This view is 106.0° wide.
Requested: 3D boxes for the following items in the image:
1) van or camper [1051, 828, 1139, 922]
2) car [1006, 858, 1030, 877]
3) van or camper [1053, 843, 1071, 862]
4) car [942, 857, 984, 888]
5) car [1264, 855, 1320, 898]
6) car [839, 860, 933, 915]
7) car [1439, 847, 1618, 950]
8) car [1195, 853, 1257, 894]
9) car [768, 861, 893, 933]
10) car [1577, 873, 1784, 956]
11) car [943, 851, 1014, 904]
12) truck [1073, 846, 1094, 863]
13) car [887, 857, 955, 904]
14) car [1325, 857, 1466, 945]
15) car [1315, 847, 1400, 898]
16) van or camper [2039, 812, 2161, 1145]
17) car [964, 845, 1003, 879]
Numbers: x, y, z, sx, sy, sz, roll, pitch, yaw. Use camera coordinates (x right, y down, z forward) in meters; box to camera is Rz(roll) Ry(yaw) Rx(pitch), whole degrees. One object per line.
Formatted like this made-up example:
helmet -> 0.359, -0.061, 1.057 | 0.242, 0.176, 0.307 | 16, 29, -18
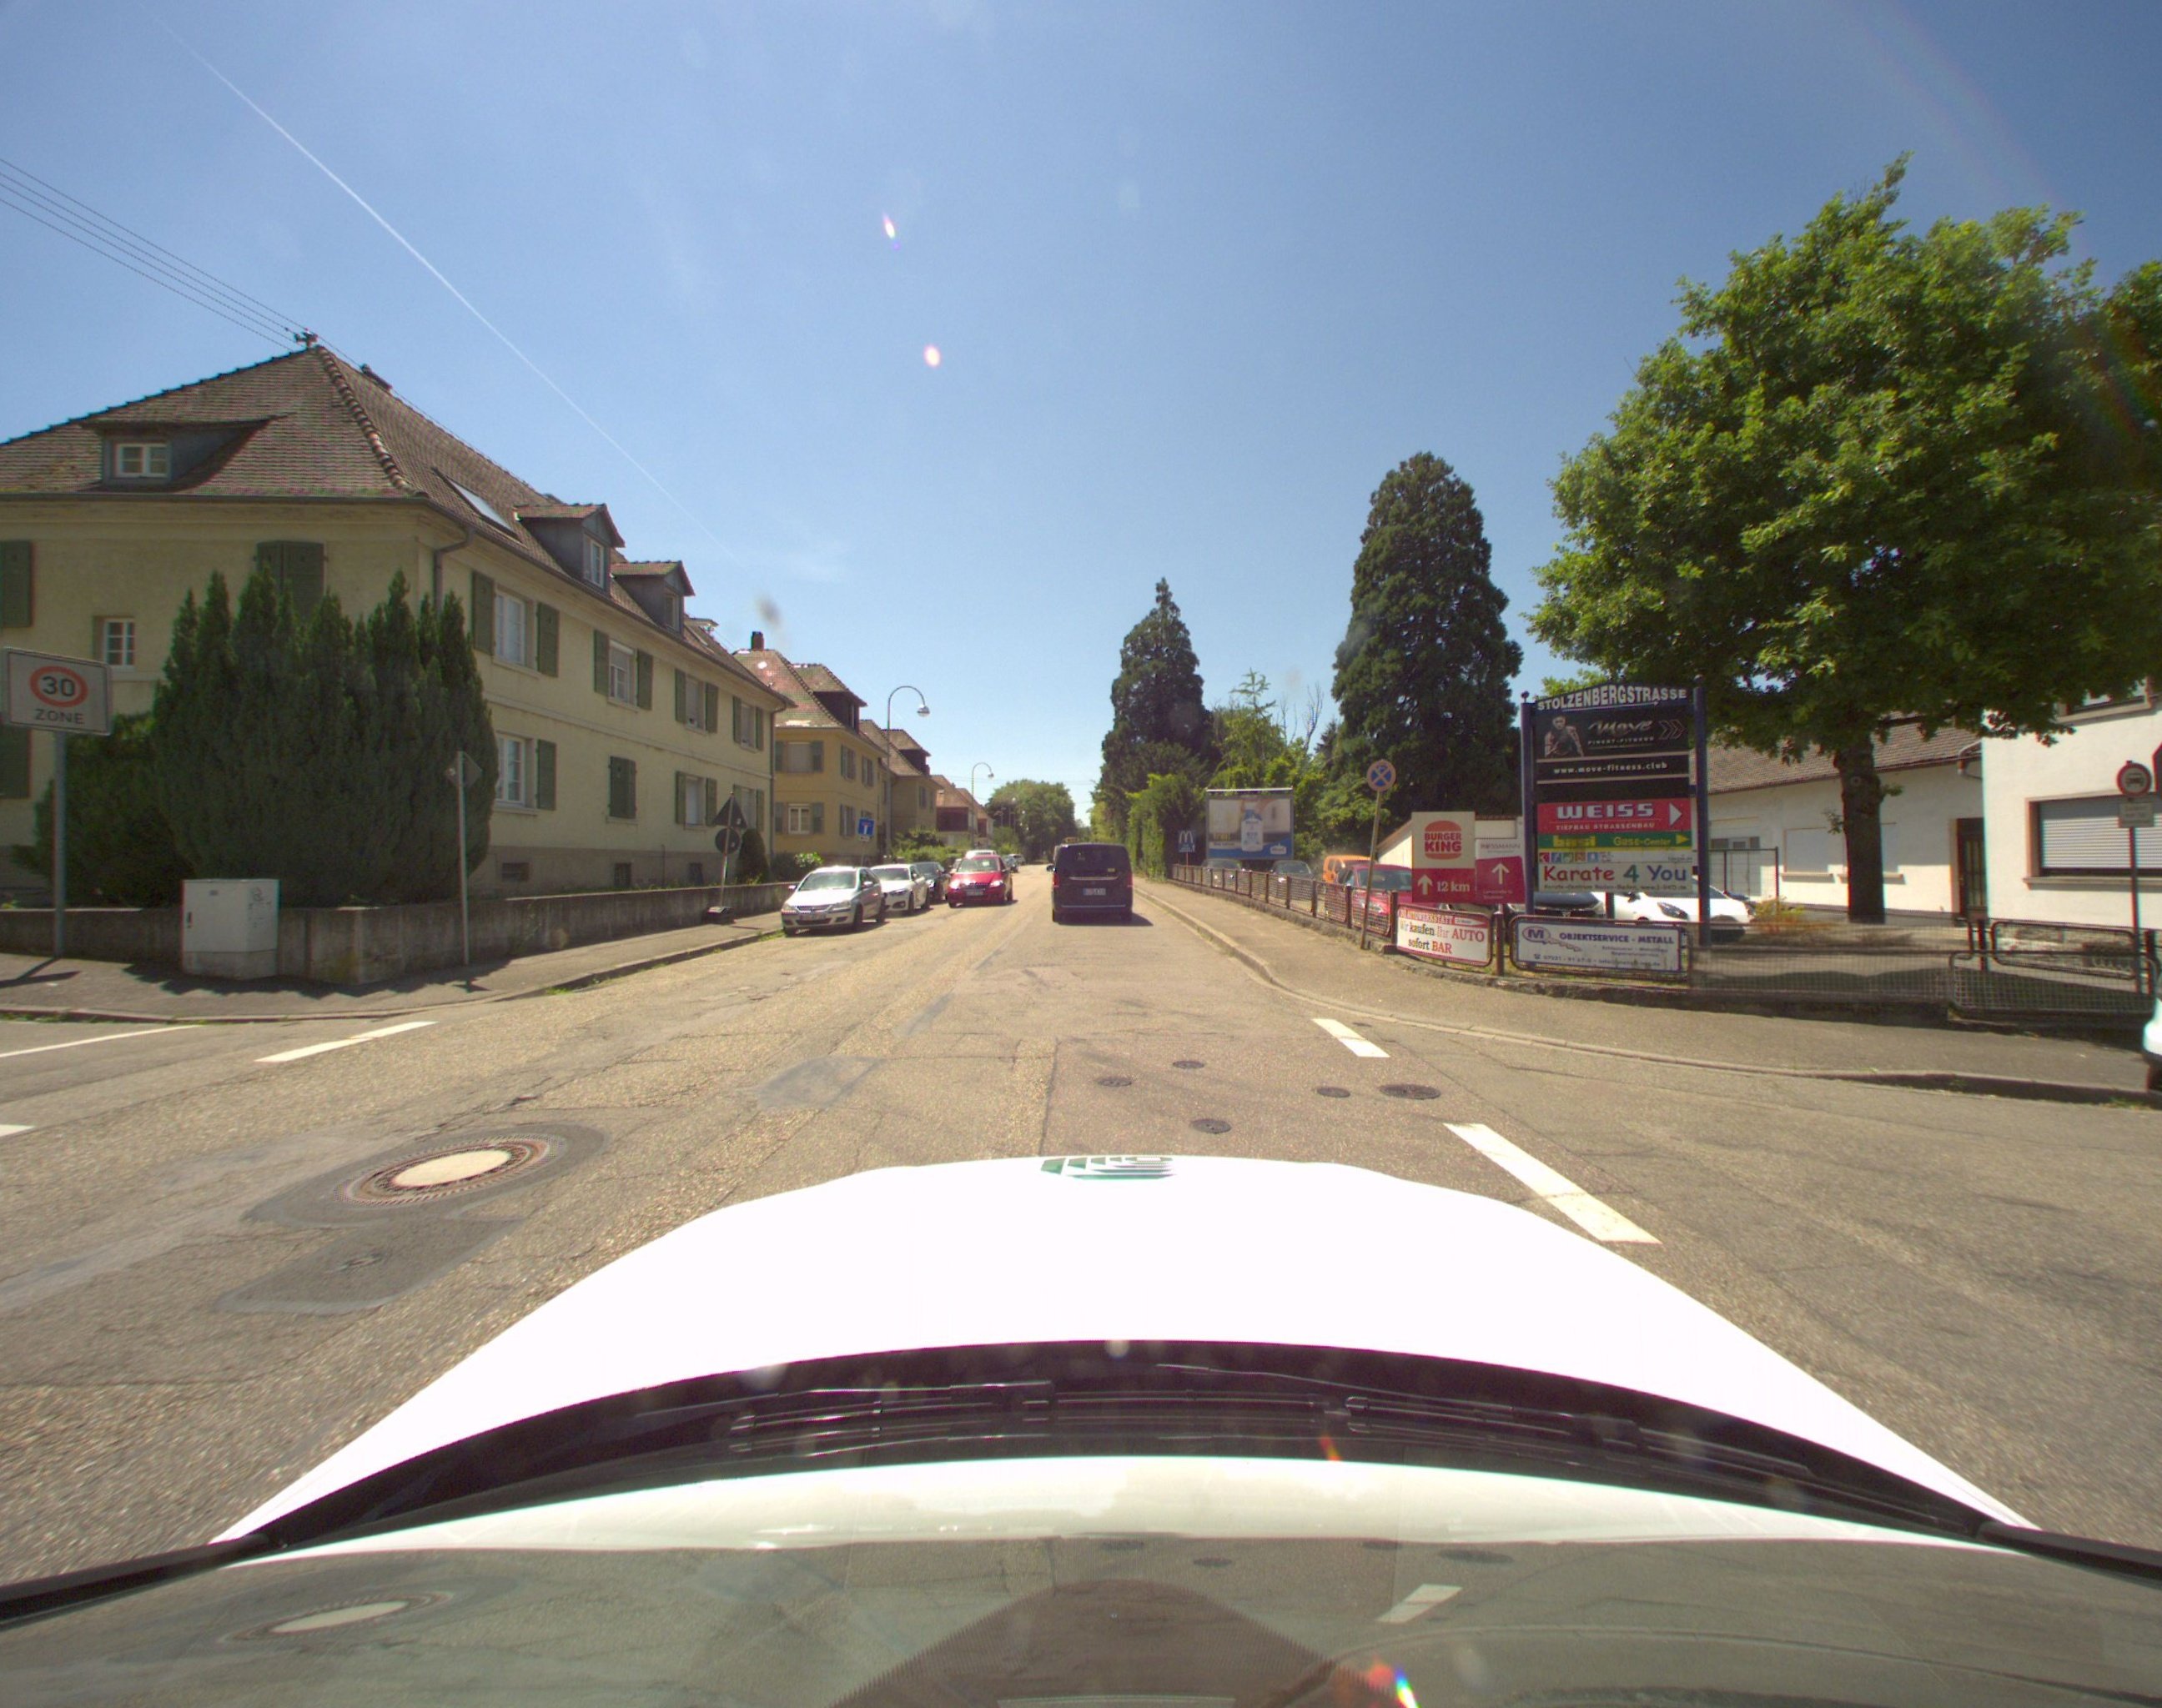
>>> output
van or camper -> 0.270, 0.471, 20.285 | 1.897, 2.014, 5.268 | 0, 0, -1
car -> -5.268, 1.116, 68.878 | 1.661, 1.386, 4.379 | -2, 0, 0
van or camper -> -2.591, -0.197, 111.768 | 2.258, 2.528, 4.753 | -2, 0, -3
car -> -6.159, 0.937, 42.748 | 1.682, 1.525, 4.060 | 0, 0, -1
car -> 8.357, 0.866, 32.523 | 1.623, 1.543, 3.398 | 3, 0, 6
car -> -5.559, 0.901, 23.742 | 1.790, 1.402, 4.215 | -2, 0, -2
car -> 8.462, 0.751, 15.867 | 1.701, 1.665, 4.472 | 1, 0, 10
car -> 5.735, 0.764, 32.504 | 1.627, 1.459, 3.553 | 3, 0, -3
car -> -5.679, 0.914, 18.960 | 1.754, 1.447, 3.921 | -2, 0, -2
car -> 10.895, 1.031, 15.104 | 1.702, 1.270, 3.392 | 0, 0, 8
car -> -3.258, 0.725, 26.564 | 1.809, 1.566, 3.695 | -2, 0, -1
truck -> 0.307, 0.084, 112.256 | 2.352, 2.258, 6.082 | -1, 0, -5
car -> -5.619, 0.912, 29.008 | 1.711, 1.485, 4.073 | -2, -1, -2
car -> 6.025, 0.827, 16.064 | 1.702, 1.523, 3.847 | -1, 0, 7
car -> 10.776, 0.699, 32.026 | 1.770, 1.800, 4.163 | 3, 0, -1
van or camper -> 9.030, 0.808, 4.204 | 5.314, 1.979, 2.004 | 2, -2, 8
car -> -5.996, 0.465, 50.530 | 1.872, 1.963, 4.623 | -3, 0, -1
